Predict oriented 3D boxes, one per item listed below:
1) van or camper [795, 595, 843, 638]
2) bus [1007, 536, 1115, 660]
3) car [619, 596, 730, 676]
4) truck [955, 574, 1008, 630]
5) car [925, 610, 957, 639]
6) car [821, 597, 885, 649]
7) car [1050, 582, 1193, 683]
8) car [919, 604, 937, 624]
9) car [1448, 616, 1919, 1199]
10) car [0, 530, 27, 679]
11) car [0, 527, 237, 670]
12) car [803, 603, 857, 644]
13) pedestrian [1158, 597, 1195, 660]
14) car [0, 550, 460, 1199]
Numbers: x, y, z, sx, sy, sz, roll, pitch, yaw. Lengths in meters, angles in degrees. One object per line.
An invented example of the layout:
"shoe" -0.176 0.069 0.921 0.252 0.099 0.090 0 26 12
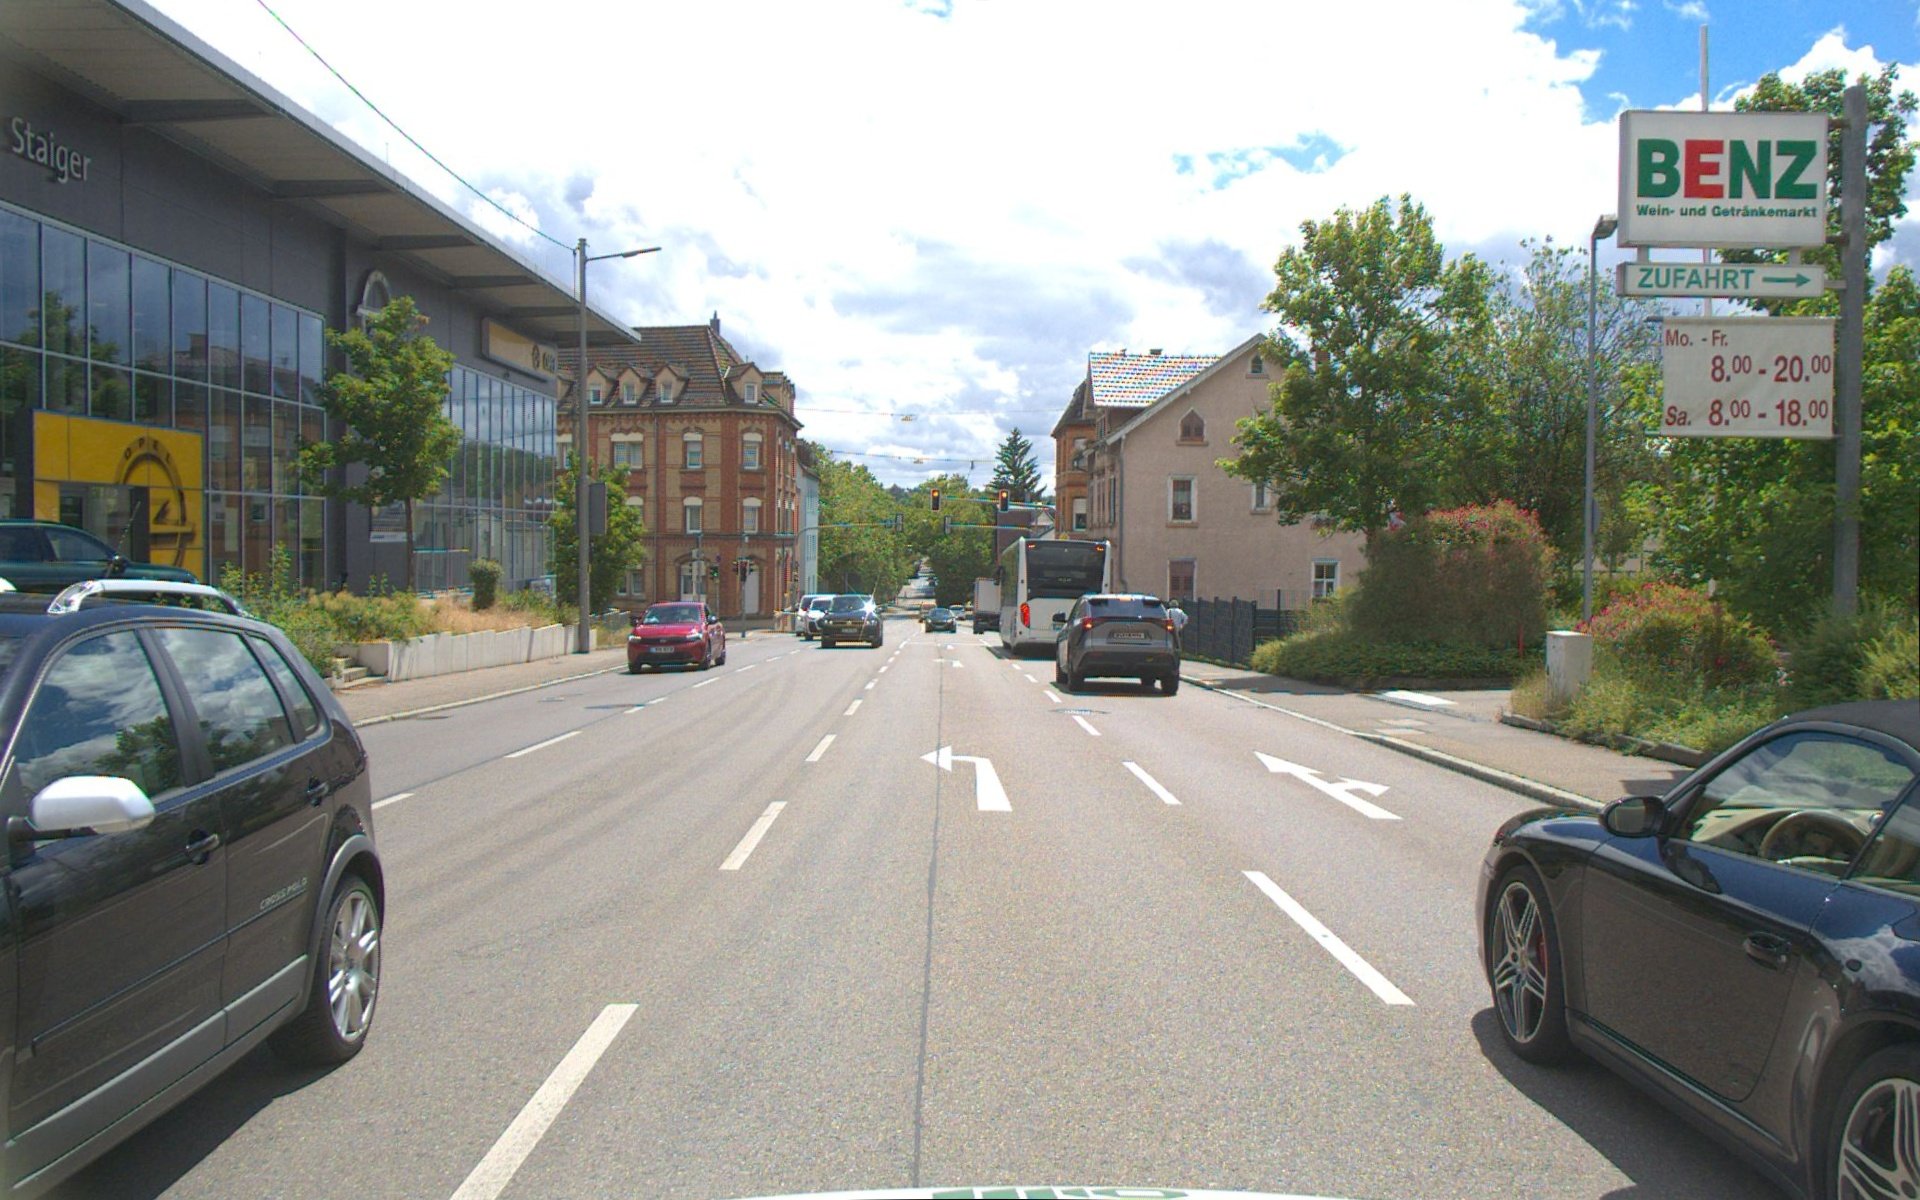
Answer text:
"van or camper" -6.606 0.735 77.832 1.930 1.948 5.127 0 0 -1
"bus" 2.856 -0.290 50.157 2.744 3.253 12.200 0 2 1
"car" -6.085 0.732 35.624 1.834 1.517 3.846 -3 0 -3
"truck" 1.206 0.112 98.198 2.613 3.162 9.031 -1 0 -2
"car" -1.154 1.447 98.416 1.826 1.695 4.258 0 0 -1
"car" -3.334 0.700 52.241 1.826 1.567 4.106 0 0 -1
"car" 2.701 0.598 28.566 1.892 1.611 4.205 0 -2 -2
"car" -3.347 1.454 171.220 1.795 1.914 3.999 0 1 -2
"car" 2.835 0.839 4.251 1.891 1.400 4.208 0 2 0
"car" -11.919 0.043 16.306 1.891 1.600 4.552 0 0 23
"car" -11.931 -0.073 21.515 1.954 1.728 4.482 1 2 25
"car" -5.101 0.894 65.111 1.826 1.567 4.106 0 0 -1
"pedestrian" 5.721 0.750 43.758 0.796 1.609 1.069 -2 0 -1
"car" -2.728 0.674 4.104 1.792 1.535 4.275 0 0 -2
